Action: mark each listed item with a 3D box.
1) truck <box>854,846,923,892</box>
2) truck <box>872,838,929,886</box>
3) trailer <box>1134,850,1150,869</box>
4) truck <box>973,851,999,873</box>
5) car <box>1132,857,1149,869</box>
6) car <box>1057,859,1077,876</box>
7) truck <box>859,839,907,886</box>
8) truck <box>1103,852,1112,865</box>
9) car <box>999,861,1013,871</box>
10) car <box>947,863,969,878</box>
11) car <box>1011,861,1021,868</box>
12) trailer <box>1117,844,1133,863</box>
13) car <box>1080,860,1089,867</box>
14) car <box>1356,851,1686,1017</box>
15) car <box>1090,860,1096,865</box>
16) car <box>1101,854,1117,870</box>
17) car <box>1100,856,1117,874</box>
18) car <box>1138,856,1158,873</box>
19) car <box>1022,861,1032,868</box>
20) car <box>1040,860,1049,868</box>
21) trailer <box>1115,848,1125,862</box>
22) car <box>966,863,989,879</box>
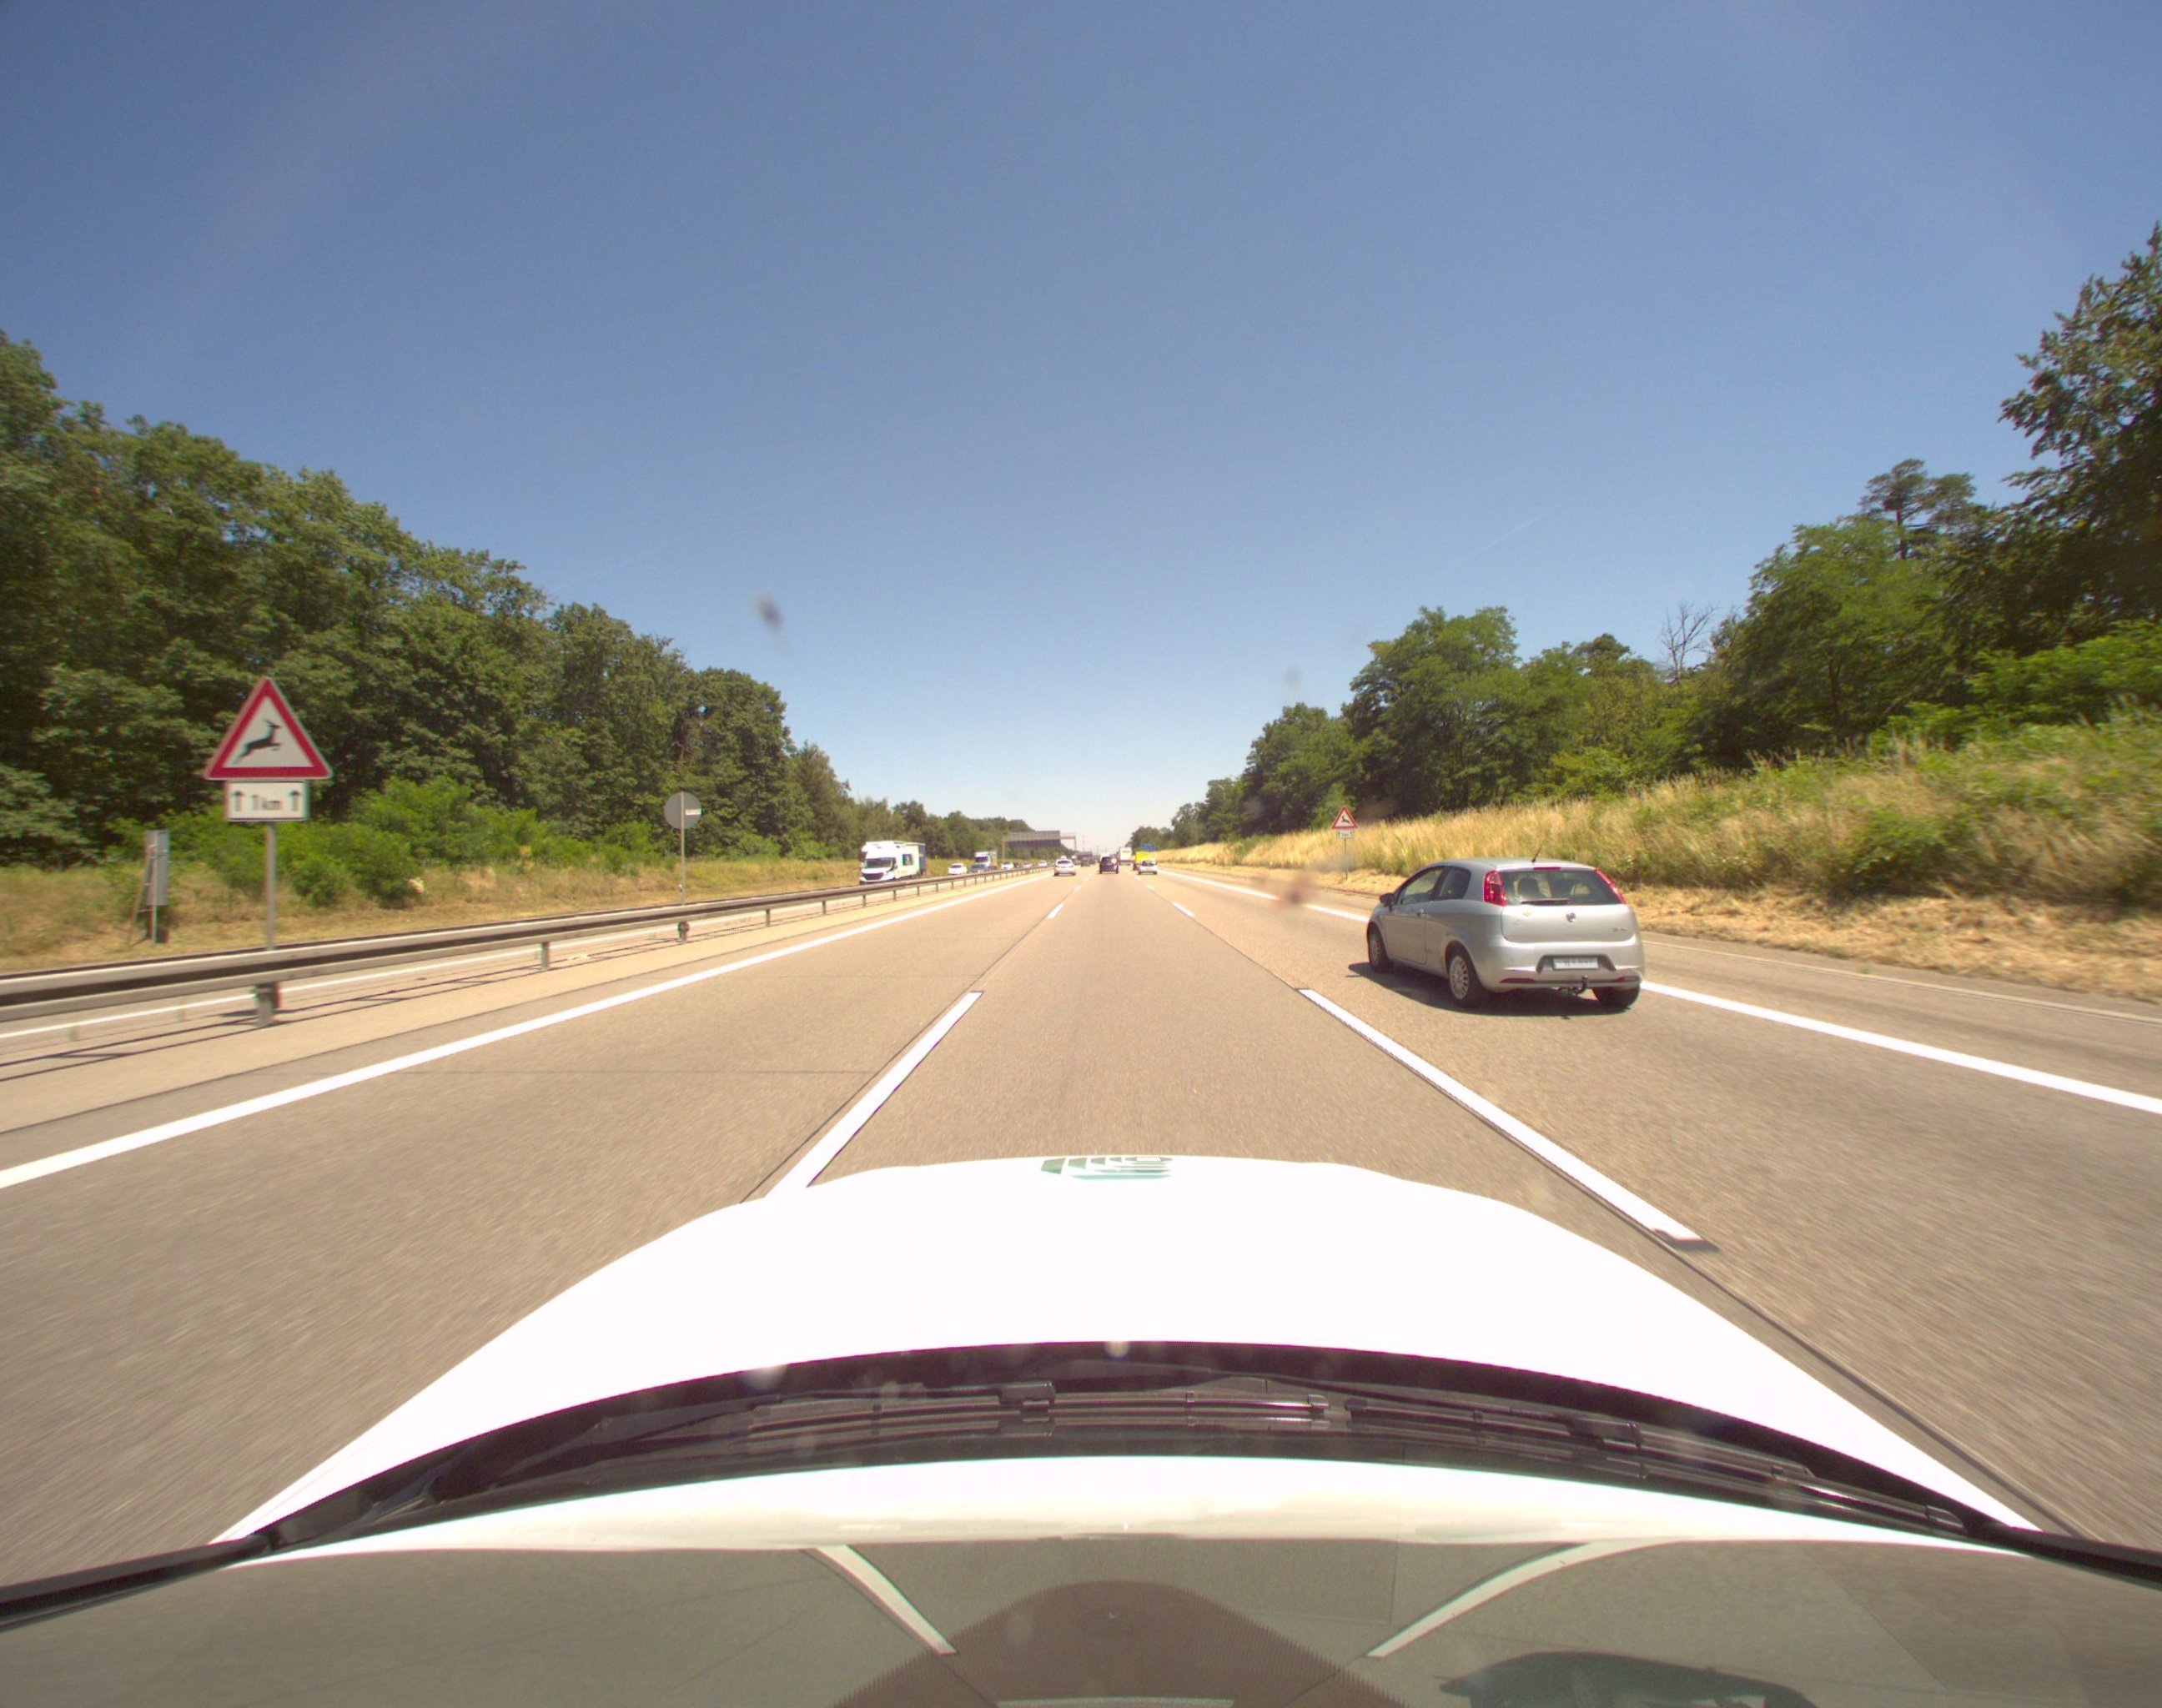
[{"bbox_3d":[-12.224,0.920,52.437,2.075,2.623,8.035,-4,-1,2],"label":"truck"},{"bbox_3d":[-15.075,0.665,68.626,2.448,3.606,8.123,-4,-1,2],"label":"truck"},{"bbox_3d":[7.405,0.682,98.963,1.697,2.290,3.840,-1,-1,1],"label":"trailer"},{"bbox_3d":[-16.268,1.403,140.219,2.722,3.518,10.444,-4,-1,1],"label":"truck"},{"bbox_3d":[7.533,1.137,103.278,1.815,1.456,4.788,-1,-1,1],"label":"car"},{"bbox_3d":[-1.283,1.183,73.614,1.663,1.401,3.713,-2,0,0],"label":"car"},{"bbox_3d":[-18.390,0.791,75.861,2.496,4.014,6.127,-4,-1,2],"label":"truck"},{"bbox_3d":[5.898,1.065,181.612,2.053,2.914,7.004,-2,-1,1],"label":"truck"},{"bbox_3d":[-12.806,2.074,140.023,1.721,1.646,5.089,-4,-1,1],"label":"car"},{"bbox_3d":[-14.046,1.911,93.324,1.598,1.559,4.470,-4,-1,2],"label":"car"},{"bbox_3d":[-15.203,2.459,190.327,1.648,1.411,5.178,-4,0,2],"label":"car"},{"bbox_3d":[10.029,-0.054,186.475,3.274,4.219,13.568,0,-1,1],"label":"trailer"},{"bbox_3d":[0.766,1.802,159.007,1.601,1.300,3.675,-1,-1,2],"label":"car"},{"bbox_3d":[4.600,0.734,9.276,1.738,1.466,3.982,-1,-1,2],"label":"car"},{"bbox_3d":[3.020,2.126,208.871,1.400,1.131,3.359,-1,-1,2],"label":"car"},{"bbox_3d":[3.306,1.023,97.960,1.808,1.827,5.111,-2,-1,1],"label":"car"},{"bbox_3d":[2.765,1.080,81.022,1.620,1.755,3.806,-1,-1,2],"label":"car"},{"bbox_3d":[6.147,1.003,75.071,1.702,1.495,4.025,-1,-1,2],"label":"car"},{"bbox_3d":[-11.921,2.383,180.811,1.755,1.407,4.353,-4,-1,1],"label":"car"},{"bbox_3d":[-7.171,2.035,160.976,1.511,1.467,3.641,-4,-1,1],"label":"car"},{"bbox_3d":[11.504,0.419,239.205,2.673,3.837,12.012,0,-1,1],"label":"trailer"},{"bbox_3d":[-10.550,1.710,83.044,1.599,1.399,4.545,-4,-1,1],"label":"car"}]
